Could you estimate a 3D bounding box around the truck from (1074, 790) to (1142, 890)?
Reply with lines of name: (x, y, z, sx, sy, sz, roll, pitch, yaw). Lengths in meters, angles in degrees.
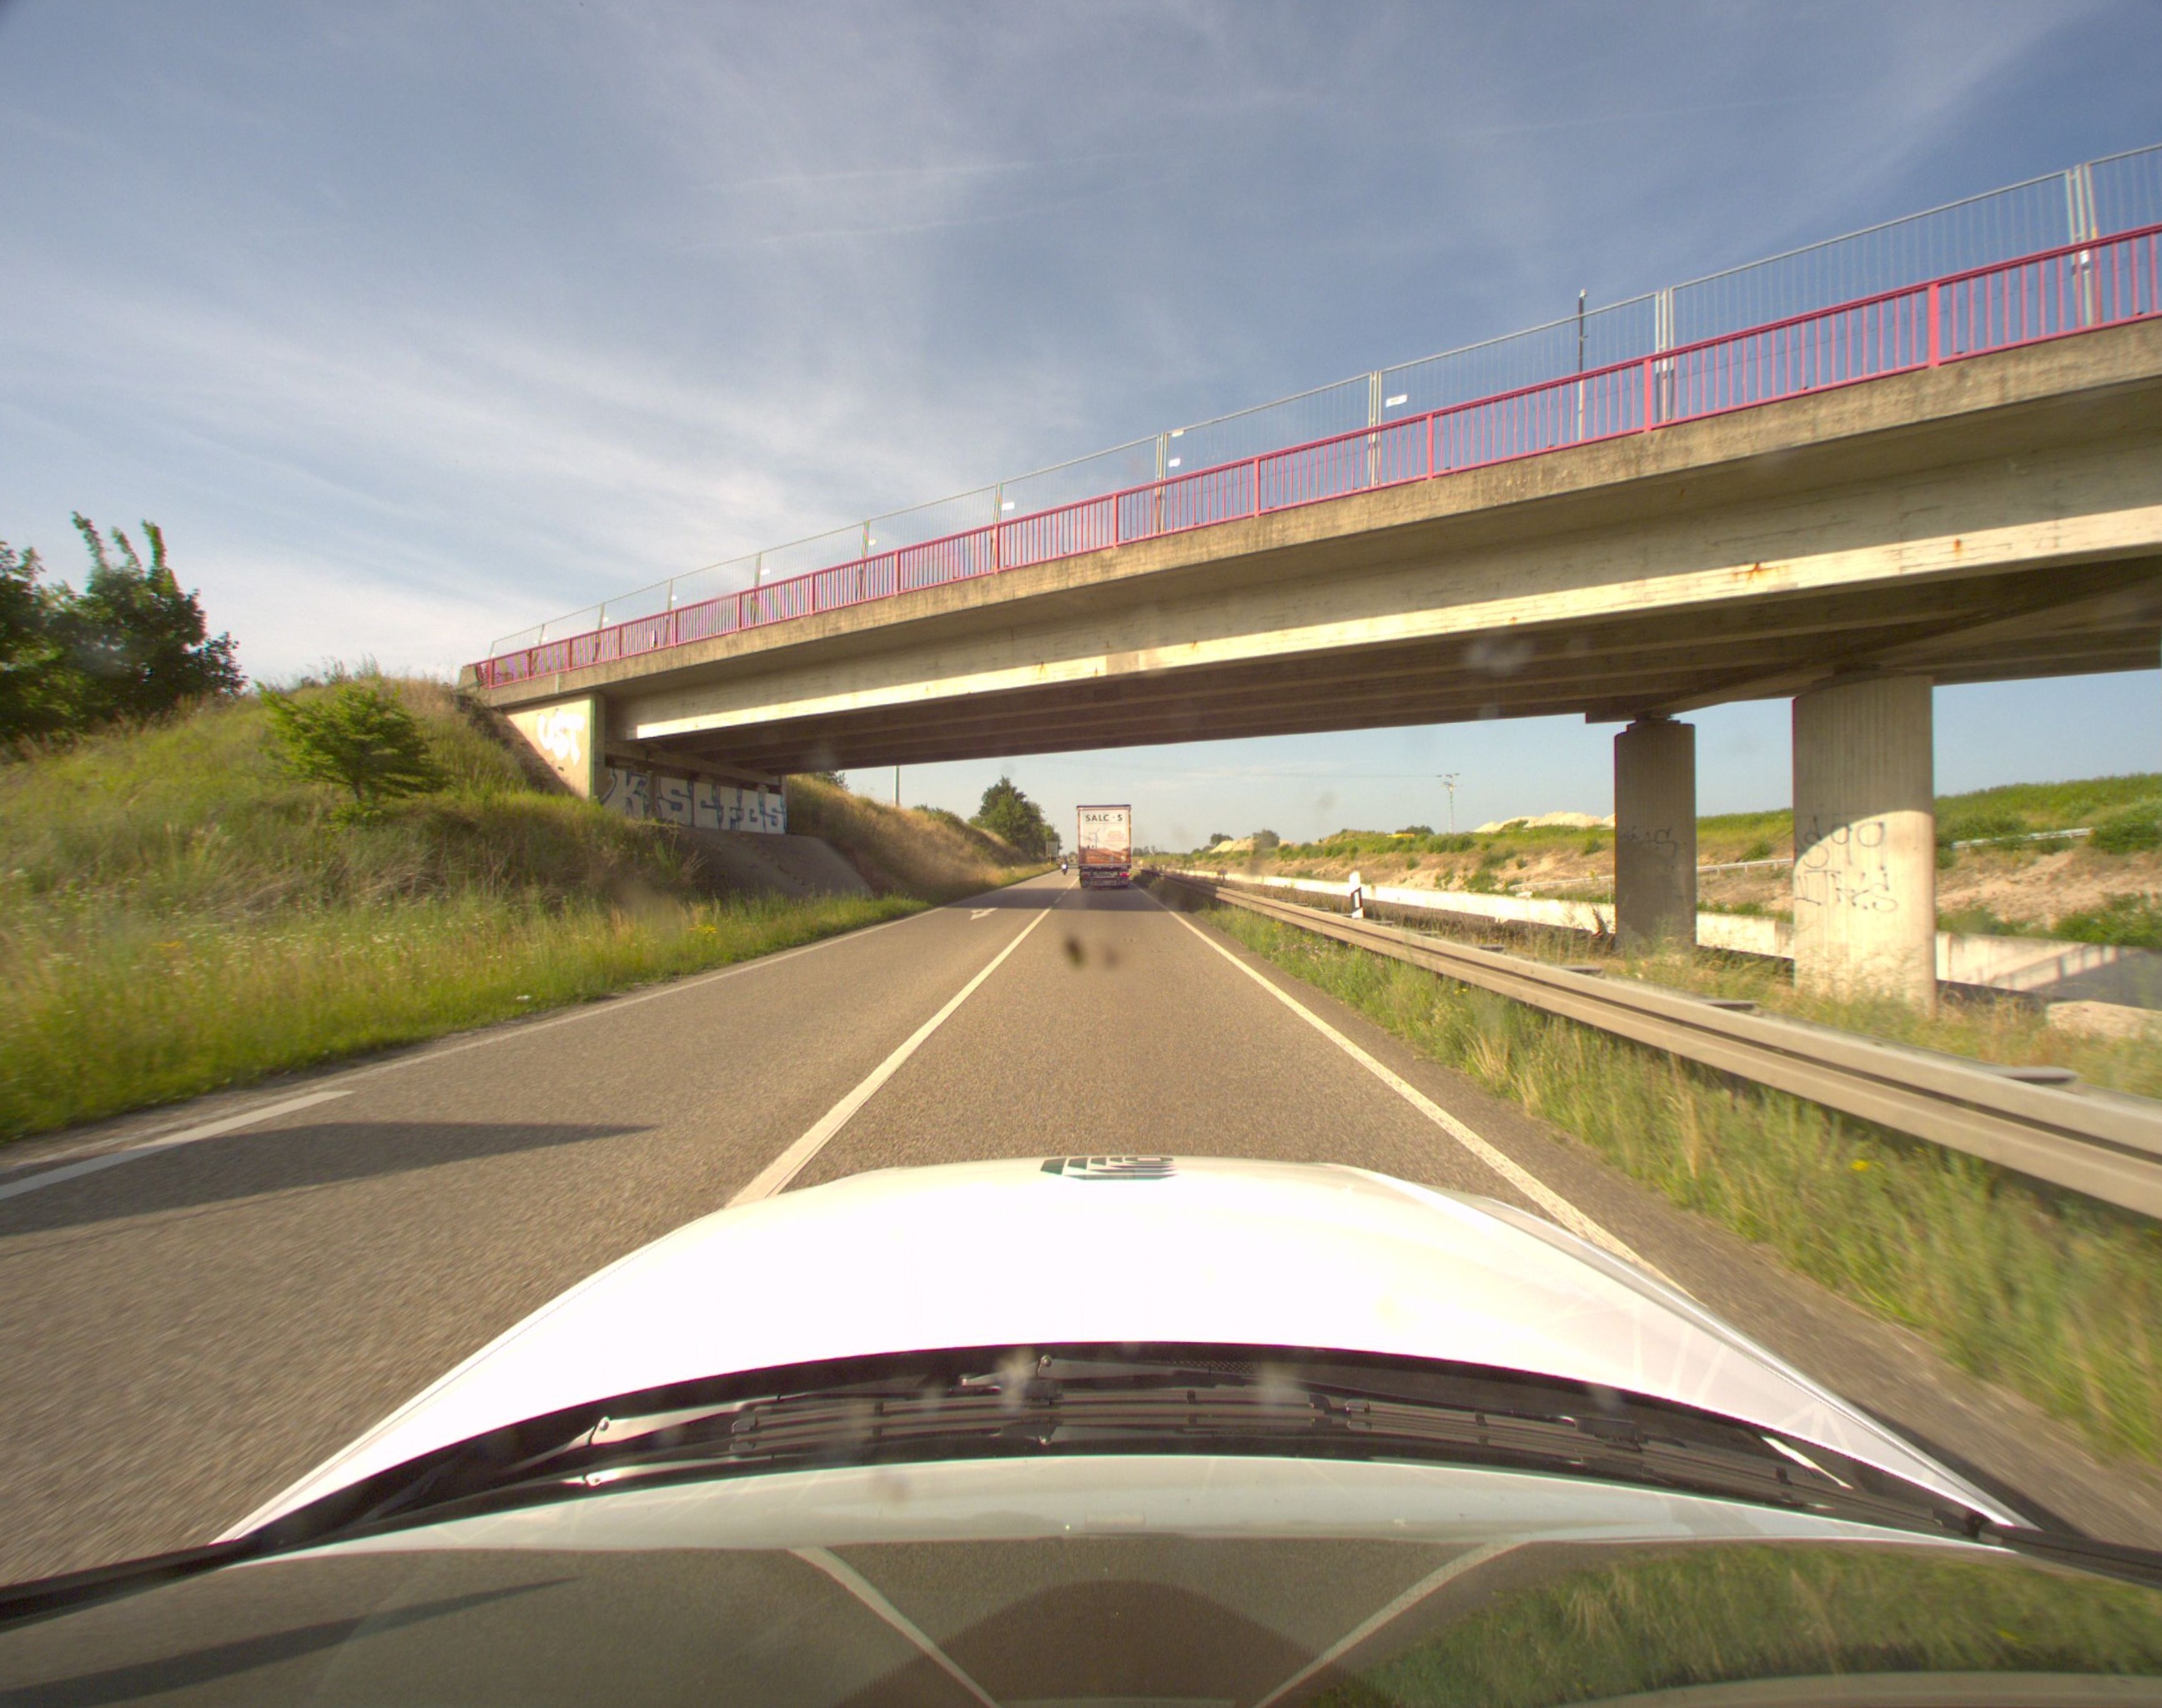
truck: (1.235, -0.611, 42.800, 3.144, 4.689, 8.437, -1, -1, -1)

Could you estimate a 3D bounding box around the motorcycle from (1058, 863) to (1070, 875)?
motorcycle: (-1.635, 1.448, 78.719, 1.038, 1.117, 2.131, -1, -1, -1)

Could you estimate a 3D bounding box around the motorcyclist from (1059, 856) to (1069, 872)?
motorcyclist: (-1.654, 0.981, 78.689, 0.877, 1.451, 1.283, -1, -1, -1)
